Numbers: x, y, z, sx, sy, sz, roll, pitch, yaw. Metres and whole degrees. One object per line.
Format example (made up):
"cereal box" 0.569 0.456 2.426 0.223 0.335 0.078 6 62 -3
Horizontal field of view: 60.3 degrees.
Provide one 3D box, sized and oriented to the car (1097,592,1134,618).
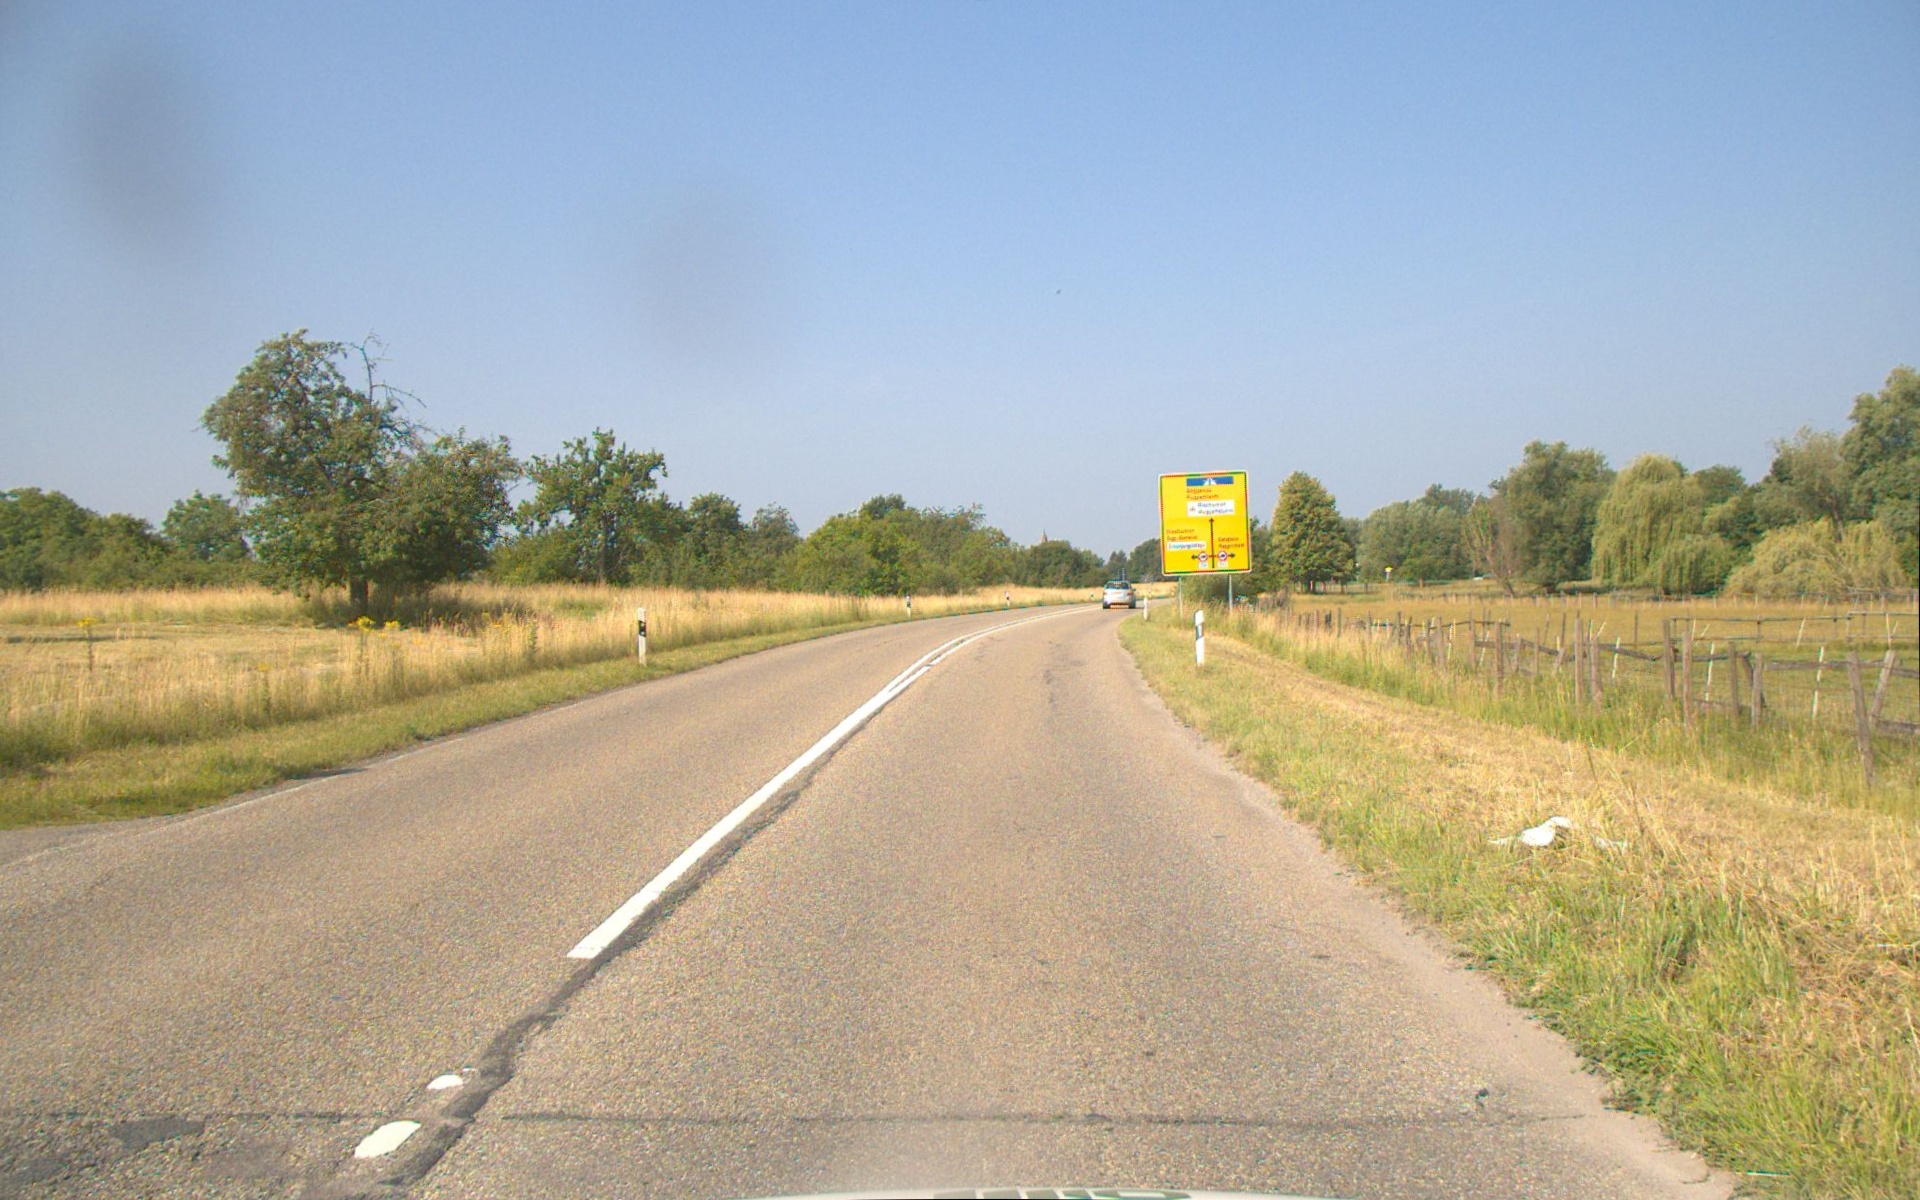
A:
"car" 9.333 0.291 99.083 1.858 1.538 4.003 0 0 10
